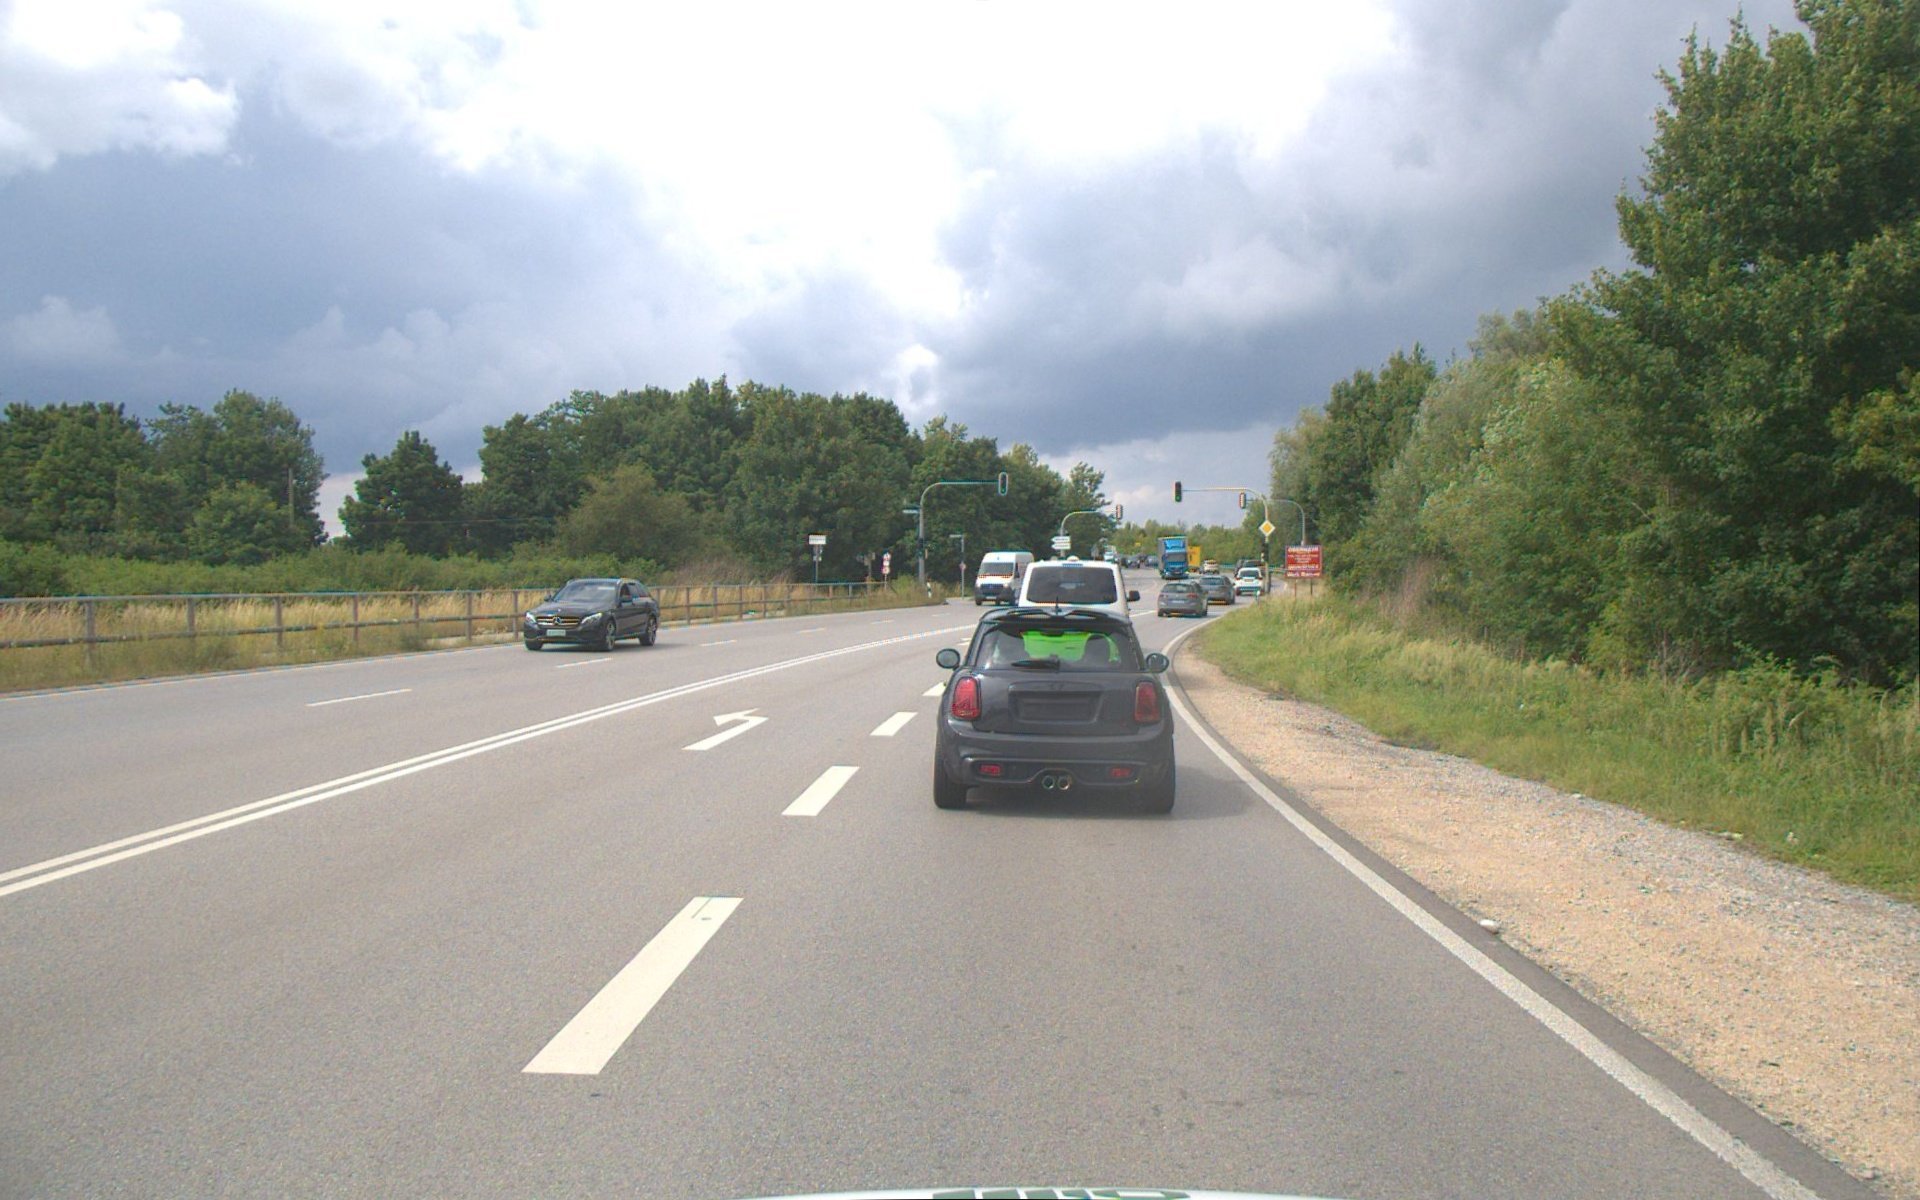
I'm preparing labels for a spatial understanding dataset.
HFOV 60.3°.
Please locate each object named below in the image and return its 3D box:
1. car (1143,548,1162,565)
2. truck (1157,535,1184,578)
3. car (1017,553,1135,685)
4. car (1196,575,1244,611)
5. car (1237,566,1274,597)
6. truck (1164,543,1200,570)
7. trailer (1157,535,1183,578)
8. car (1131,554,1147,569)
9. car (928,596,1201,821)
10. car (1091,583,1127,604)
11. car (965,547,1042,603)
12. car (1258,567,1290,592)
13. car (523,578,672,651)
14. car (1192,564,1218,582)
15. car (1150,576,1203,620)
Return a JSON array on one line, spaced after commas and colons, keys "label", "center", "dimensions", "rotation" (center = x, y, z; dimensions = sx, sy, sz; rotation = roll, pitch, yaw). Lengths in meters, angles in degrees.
[{"label": "car", "center": [26.423, -5.970, 227.408], "dimensions": [2.136, 2.049, 3.999], "rotation": [1, -1, 0]}, {"label": "truck", "center": [20.433, -4.223, 160.781], "dimensions": [2.486, 4.167, 4.003], "rotation": [0, 1, 6]}, {"label": "car", "center": [1.958, 0.274, 27.556], "dimensions": [1.806, 2.021, 3.843], "rotation": [1, 1, 5]}, {"label": "car", "center": [13.496, -0.345, 85.804], "dimensions": [1.951, 1.713, 3.979], "rotation": [1, -1, 16]}, {"label": "car", "center": [18.285, -1.133, 102.239], "dimensions": [1.951, 1.713, 4.003], "rotation": [2, -1, 14]}, {"label": "truck", "center": [26.017, -5.107, 194.026], "dimensions": [2.663, 2.948, 8.766], "rotation": [1, 0, -3]}, {"label": "trailer", "center": [20.788, -4.291, 163.915], "dimensions": [2.473, 4.172, 6.740], "rotation": [0, 1, 7]}, {"label": "car", "center": [26.726, -5.719, 247.109], "dimensions": [1.953, 2.049, 3.999], "rotation": [1, -1, -1]}, {"label": "car", "center": [0.742, 0.724, 13.023], "dimensions": [1.807, 1.453, 3.842], "rotation": [1, 0, 1]}, {"label": "car", "center": [10.621, -0.493, 117.701], "dimensions": [1.905, 1.466, 4.003], "rotation": [1, 1, 16]}, {"label": "car", "center": [2.292, -1.243, 83.980], "dimensions": [2.382, 2.721, 6.893], "rotation": [1, 1, 15]}, {"label": "car", "center": [23.025, -1.500, 121.202], "dimensions": [1.951, 1.713, 4.003], "rotation": [1, -1, 15]}, {"label": "car", "center": [-7.761, 0.273, 35.828], "dimensions": [1.770, 1.467, 4.357], "rotation": [1, 0, 7]}, {"label": "car", "center": [26.240, -2.899, 177.068], "dimensions": [1.953, 1.818, 4.484], "rotation": [0, 1, -2]}, {"label": "car", "center": [8.905, -0.053, 67.822], "dimensions": [1.951, 1.713, 4.003], "rotation": [2, -1, 10]}]
